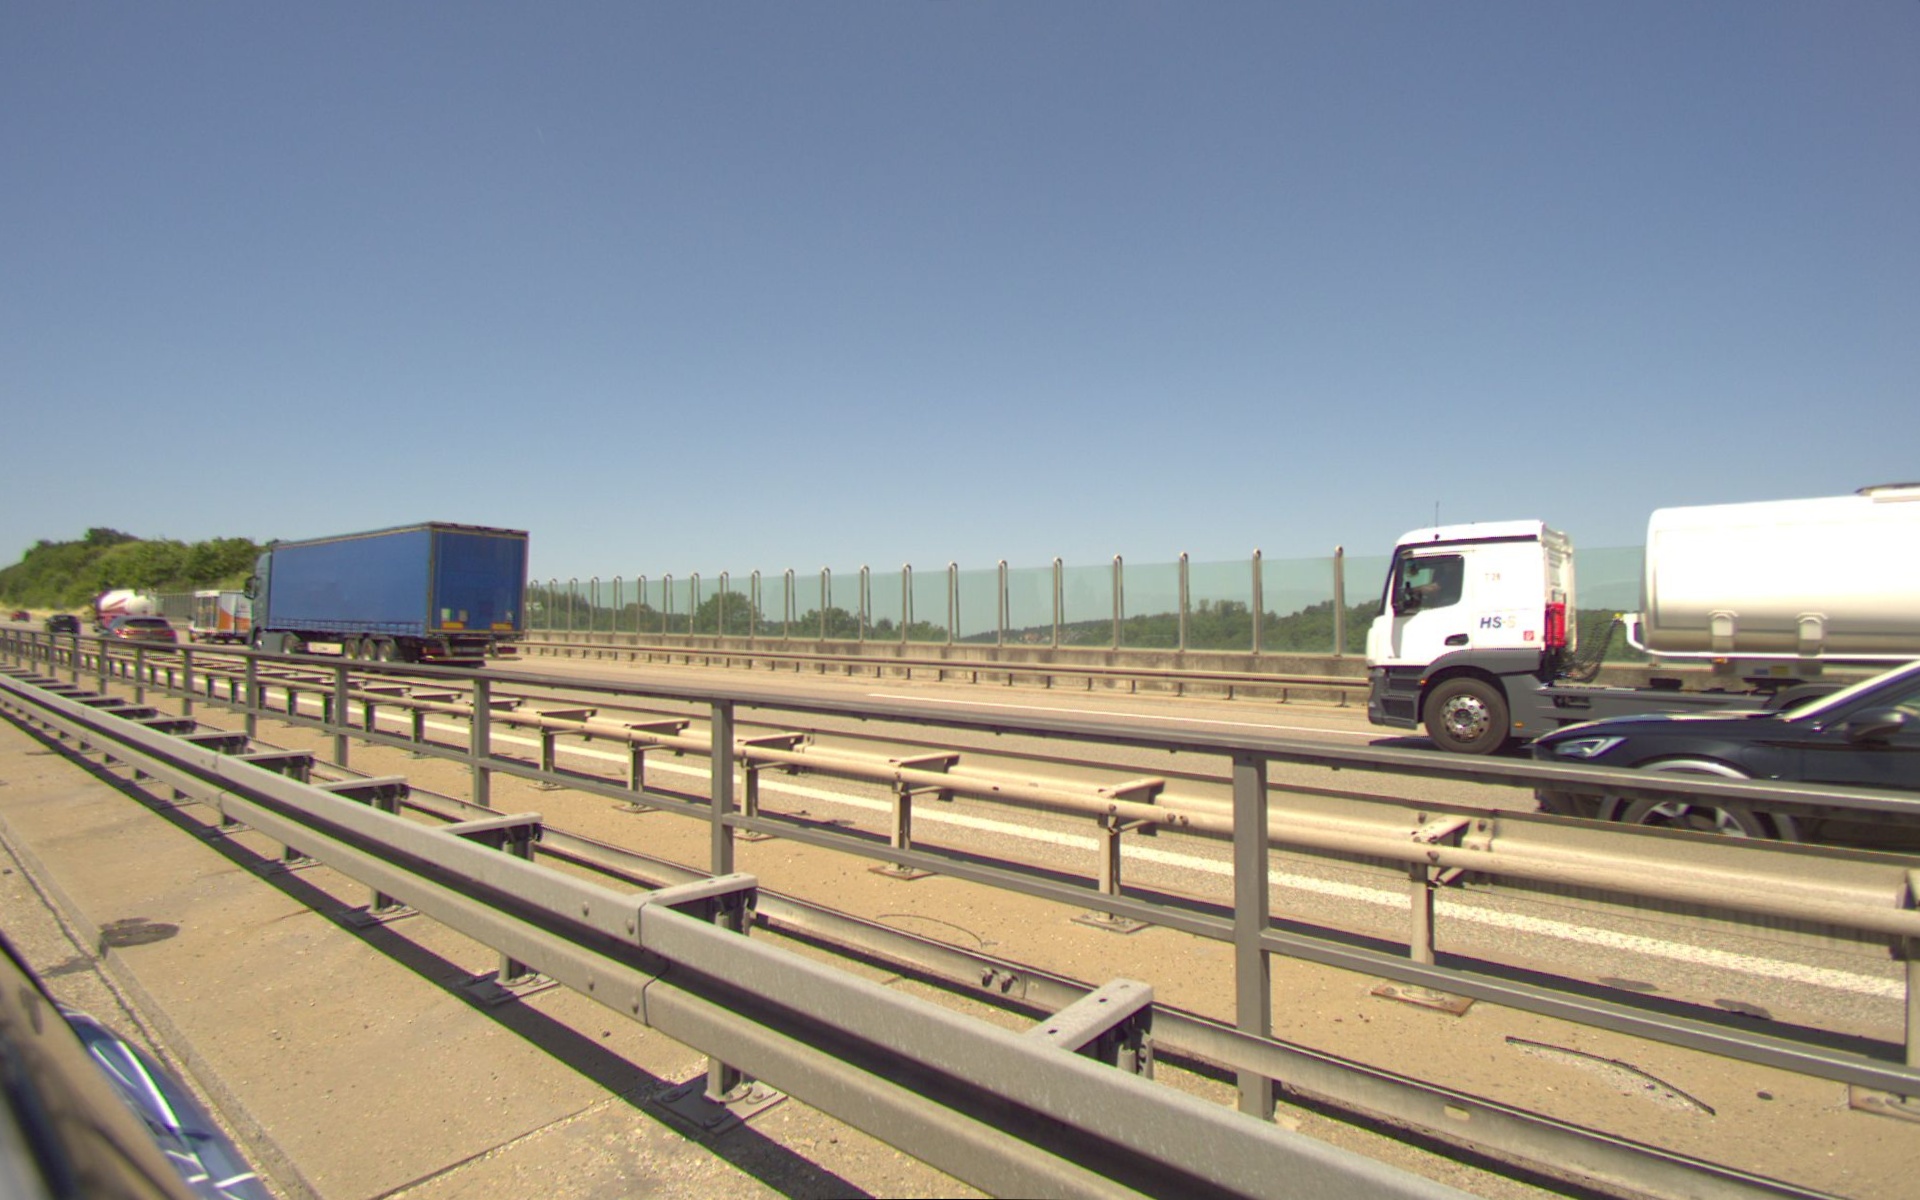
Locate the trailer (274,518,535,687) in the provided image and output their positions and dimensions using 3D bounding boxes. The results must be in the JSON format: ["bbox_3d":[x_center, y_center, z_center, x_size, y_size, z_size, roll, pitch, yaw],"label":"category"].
[{"bbox_3d":[-16.881,0.123,30.082,12.043,4.197,2.676,0,-2,41],"label":"trailer"}]

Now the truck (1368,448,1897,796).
[{"bbox_3d":[8.429,0.269,13.094,5.329,3.562,2.493,0,-2,42],"label":"truck"}]

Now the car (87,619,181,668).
[{"bbox_3d":[-29.385,1.507,35.967,4.186,1.563,1.863,0,0,40],"label":"car"}]

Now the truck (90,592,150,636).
[{"bbox_3d":[-69.234,1.120,83.336,6.294,3.441,2.877,0,-3,43],"label":"truck"}]

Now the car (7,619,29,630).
[{"bbox_3d":[-128.291,3.359,137.770,3.999,1.431,1.763,0,-4,42],"label":"car"}]

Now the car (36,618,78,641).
[{"bbox_3d":[-64.469,2.110,72.224,3.850,1.510,1.779,0,-2,41],"label":"car"}]

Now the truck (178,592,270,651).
[{"bbox_3d":[-43.208,1.238,59.303,8.291,3.213,2.535,0,-4,42],"label":"truck"}]

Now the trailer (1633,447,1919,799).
[{"bbox_3d":[12.777,0.258,9.177,10.900,3.567,2.472,0,-2,42],"label":"trailer"}]

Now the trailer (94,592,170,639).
[{"bbox_3d":[-65.226,1.201,79.608,12.006,3.405,2.845,0,-3,43],"label":"trailer"}]

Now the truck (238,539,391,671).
[{"bbox_3d":[-22.317,0.202,34.854,6.262,4.148,2.724,0,-2,41],"label":"truck"}]

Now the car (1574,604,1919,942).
[{"bbox_3d":[5.622,0.810,5.017,4.186,1.563,1.863,0,0,40],"label":"car"}]
